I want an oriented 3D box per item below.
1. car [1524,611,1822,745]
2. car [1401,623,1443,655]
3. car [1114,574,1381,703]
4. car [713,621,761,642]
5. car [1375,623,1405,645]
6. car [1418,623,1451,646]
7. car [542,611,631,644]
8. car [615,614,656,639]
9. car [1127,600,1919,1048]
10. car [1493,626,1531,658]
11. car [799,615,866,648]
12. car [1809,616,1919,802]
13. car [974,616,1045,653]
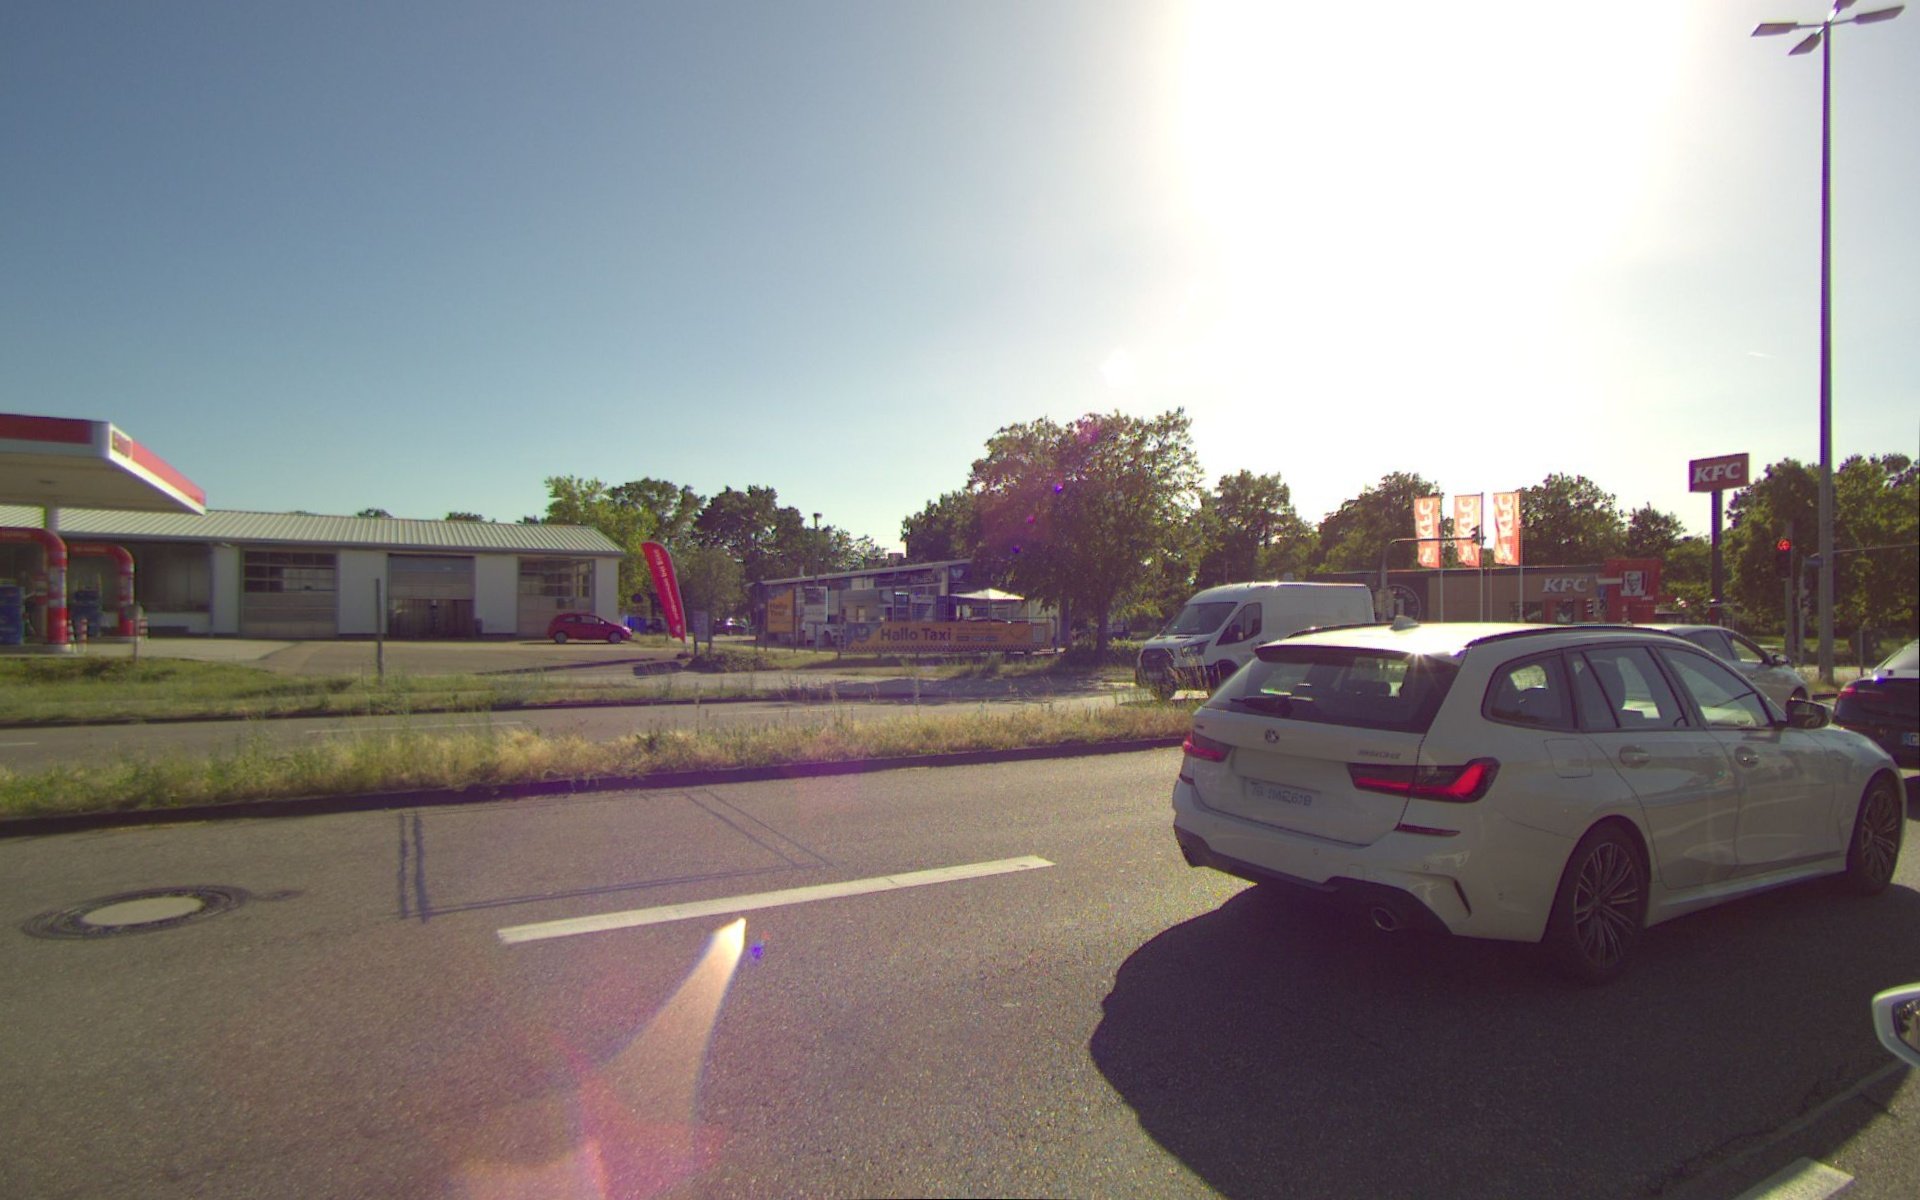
[{"bbox_3d":[9.577,0.973,13.426,4.150,1.510,1.750,2,0,-31],"label":"car"},{"bbox_3d":[28.335,2.356,61.513,1.964,1.788,4.349,2,0,29],"label":"car"},{"bbox_3d":[6.260,0.873,21.689,5.749,2.478,2.015,1,-4,-28],"label":"car"},{"bbox_3d":[-19.401,2.746,87.592,3.929,1.634,1.996,2,0,-11],"label":"car"},{"bbox_3d":[31.293,2.461,73.213,1.629,1.491,3.919,2,0,18],"label":"car"},{"bbox_3d":[33.926,2.470,71.940,1.629,1.491,3.919,2,0,18],"label":"car"},{"bbox_3d":[-18.357,1.351,49.400,3.946,1.537,1.772,2,0,-25],"label":"car"},{"bbox_3d":[-19.333,1.564,59.741,1.634,1.383,3.744,2,0,-29],"label":"car"},{"bbox_3d":[3.148,0.826,5.332,4.353,1.510,1.776,2,0,-31],"label":"car"},{"bbox_3d":[33.081,2.486,60.195,1.880,1.776,4.349,2,0,29],"label":"car"},{"bbox_3d":[-6.769,1.662,53.099,1.978,1.584,3.964,2,0,-32],"label":"car"},{"bbox_3d":[9.867,0.970,9.274,4.425,1.510,1.787,2,0,-31],"label":"car"},{"bbox_3d":[2.387,1.680,49.551,1.839,1.613,3.974,2,0,-26],"label":"car"}]
